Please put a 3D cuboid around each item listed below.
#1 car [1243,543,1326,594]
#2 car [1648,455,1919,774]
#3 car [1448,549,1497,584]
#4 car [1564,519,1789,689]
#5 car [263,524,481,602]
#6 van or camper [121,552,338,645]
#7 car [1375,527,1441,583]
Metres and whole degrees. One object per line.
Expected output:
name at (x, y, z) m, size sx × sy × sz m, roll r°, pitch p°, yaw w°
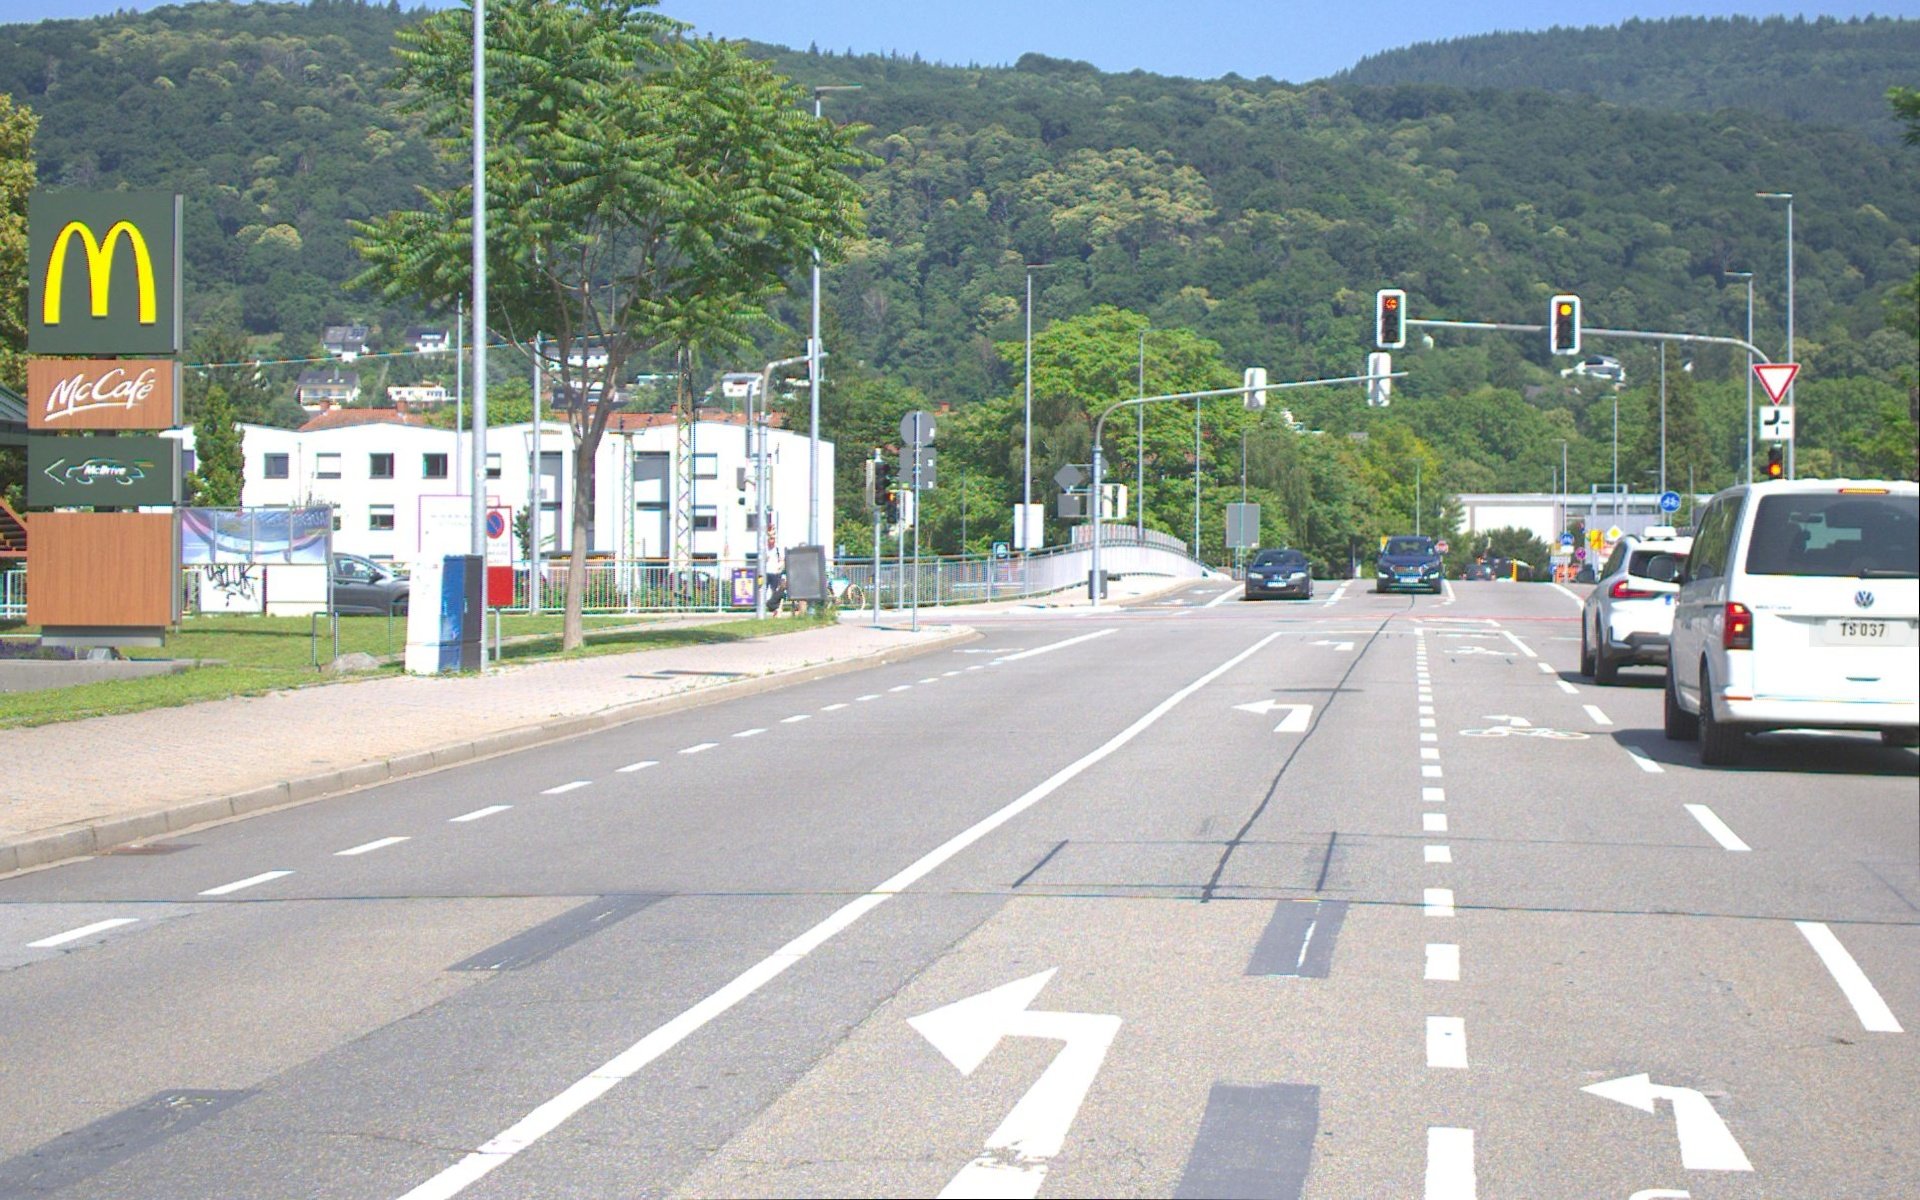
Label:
car at (9.003, -0.894, 95.073) m, size 1.994 × 1.365 × 4.325 m, roll 0°, pitch 1°, yaw 9°
car at (6.104, 0.042, 24.550) m, size 1.935 × 2.052 × 4.543 m, roll 1°, pitch 1°, yaw 7°
car at (24.973, -1.634, 167.733) m, size 1.994 × 1.524 × 4.044 m, roll 3°, pitch 2°, yaw 4°
car at (7.805, -0.002, 37.806) m, size 1.935 × 1.681 × 4.543 m, roll 2°, pitch 1°, yaw 6°
car at (-12.314, -0.788, 71.872) m, size 4.314 × 1.587 × 2.001 m, roll 0°, pitch 1°, yaw -15°
van or camper at (-14.061, -0.037, 66.361) m, size 3.986 × 1.568 × 2.001 m, roll 2°, pitch 2°, yaw -10°
car at (13.015, -1.315, 99.676) m, size 1.850 × 1.583 × 3.999 m, roll 0°, pitch 1°, yaw 8°
